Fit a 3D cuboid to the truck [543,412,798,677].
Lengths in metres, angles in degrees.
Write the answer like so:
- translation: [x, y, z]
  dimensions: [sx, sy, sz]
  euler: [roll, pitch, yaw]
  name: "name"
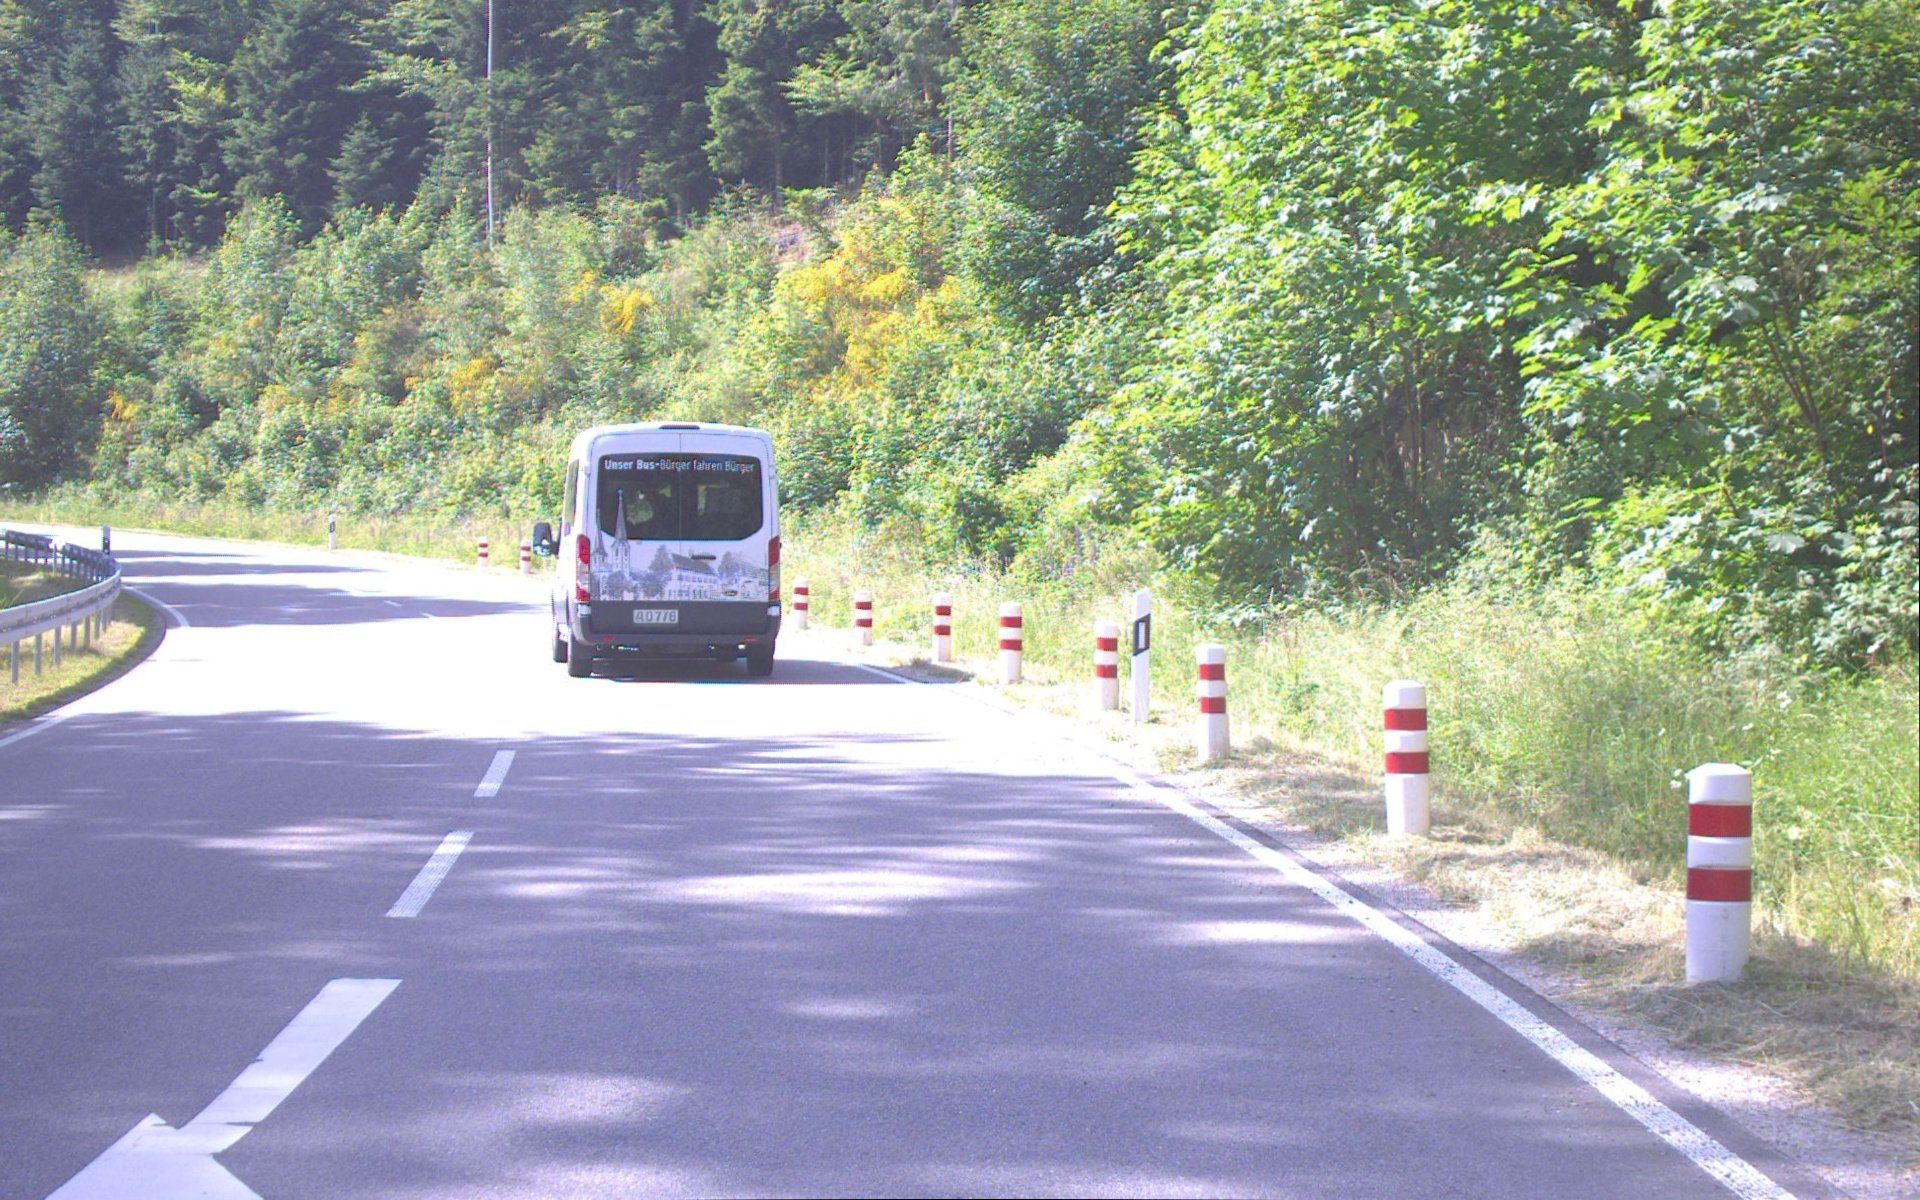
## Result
- translation: [-3.043, -0.596, 35.082]
  dimensions: [2.115, 2.489, 5.361]
  euler: [0, 1, -10]
  name: "truck"
